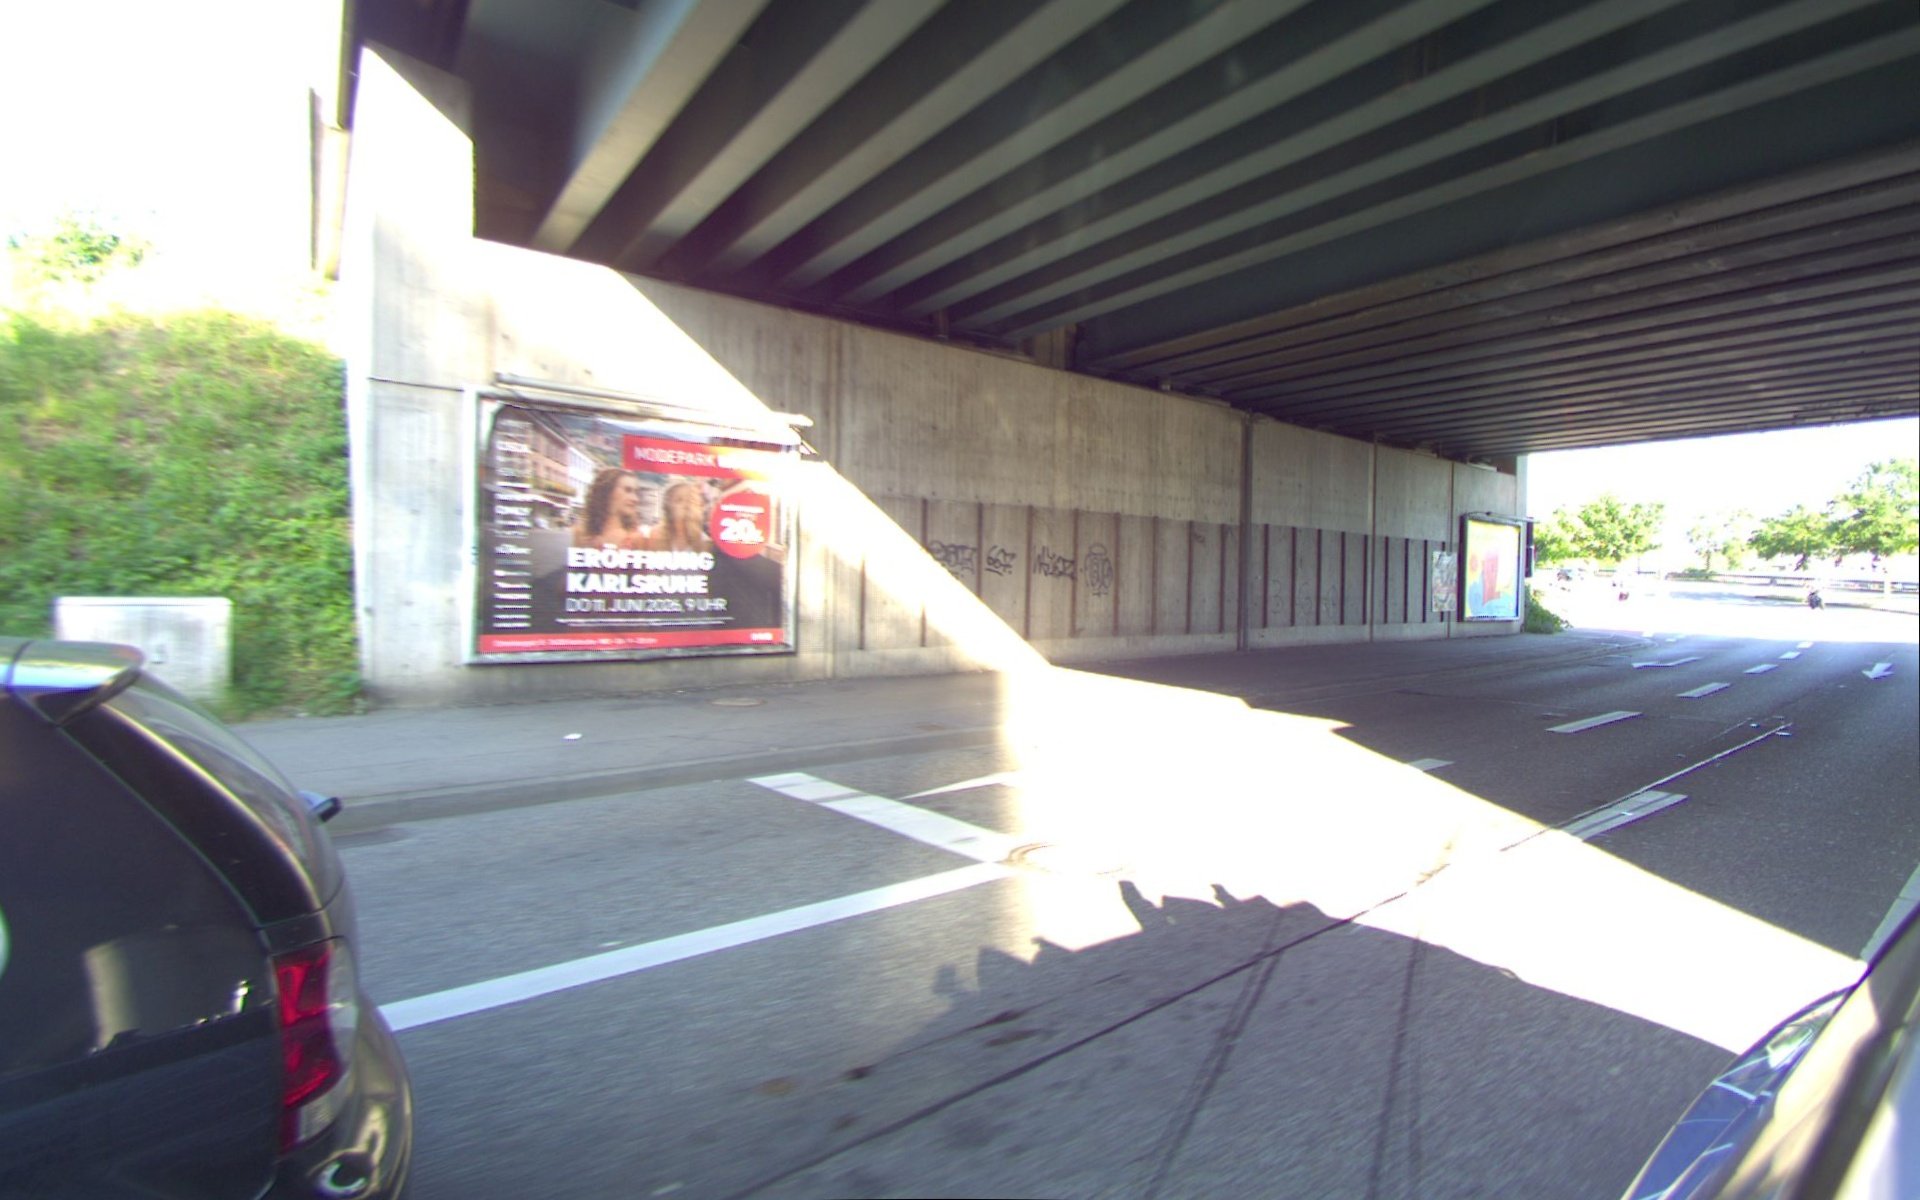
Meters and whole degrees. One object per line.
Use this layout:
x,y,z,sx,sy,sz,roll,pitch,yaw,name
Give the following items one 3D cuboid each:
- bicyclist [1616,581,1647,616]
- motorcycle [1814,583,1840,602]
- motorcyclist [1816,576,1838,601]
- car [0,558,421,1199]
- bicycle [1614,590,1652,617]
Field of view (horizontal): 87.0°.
28.119,-0.054,42.399,0.833,1.439,1.106,-1,0,22,bicyclist
50.411,-0.439,58.822,2.312,1.059,0.810,-1,1,-40,motorcycle
50.423,-0.662,58.853,0.863,1.460,0.839,-1,0,-40,motorcyclist
-2.637,0.692,0.860,3.617,1.427,1.620,-1,1,-39,car
28.109,0.118,42.303,0.773,1.070,2.479,-1,1,21,bicycle
